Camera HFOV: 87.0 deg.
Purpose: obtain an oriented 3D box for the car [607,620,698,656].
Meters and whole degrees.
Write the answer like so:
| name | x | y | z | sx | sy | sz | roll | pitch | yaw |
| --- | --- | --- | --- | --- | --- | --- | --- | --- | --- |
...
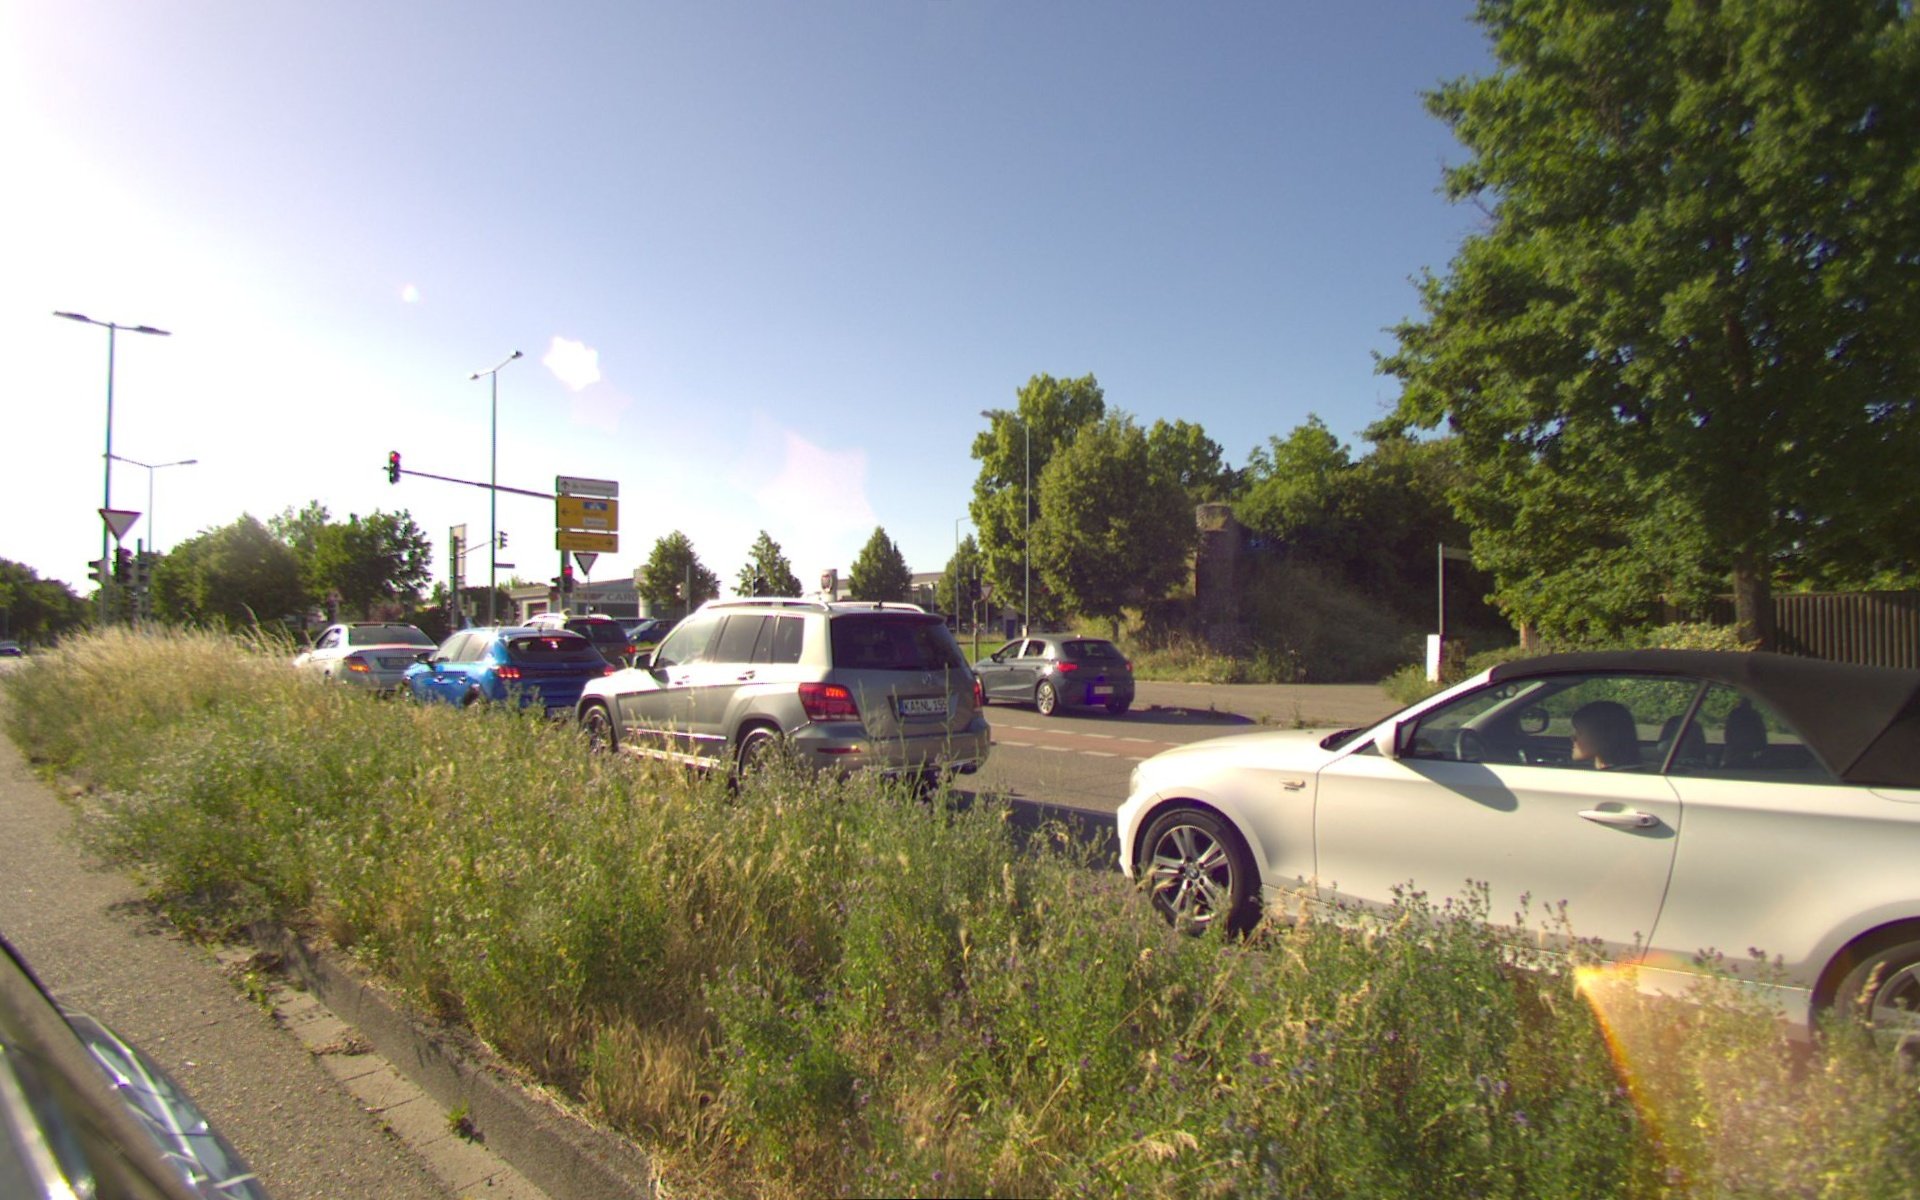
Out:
| name | x | y | z | sx | sy | sz | roll | pitch | yaw |
| --- | --- | --- | --- | --- | --- | --- | --- | --- | --- |
| car | -15.389 | 1.914 | 50.736 | 1.892 | 1.657 | 3.983 | -5 | -5 | 42 |

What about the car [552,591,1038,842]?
| name | x | y | z | sx | sy | sz | roll | pitch | yaw |
| --- | --- | --- | --- | --- | --- | --- | --- | --- | --- |
| car | -1.662 | 0.836 | 8.892 | 1.970 | 1.628 | 4.533 | 2 | -3 | -44 |

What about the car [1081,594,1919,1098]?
| name | x | y | z | sx | sy | sz | roll | pitch | yaw |
| --- | --- | --- | --- | --- | --- | --- | --- | --- | --- |
| car | 2.853 | 0.763 | 4.297 | 1.970 | 1.461 | 4.402 | 2 | -3 | -44 |

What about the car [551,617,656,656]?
| name | x | y | z | sx | sy | sz | roll | pitch | yaw |
| --- | --- | --- | --- | --- | --- | --- | --- | --- | --- |
| car | -19.815 | 2.068 | 56.456 | 2.047 | 2.029 | 5.202 | -5 | -5 | 42 |

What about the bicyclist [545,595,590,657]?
| name | x | y | z | sx | sy | sz | roll | pitch | yaw |
| --- | --- | --- | --- | --- | --- | --- | --- | --- | --- |
| bicyclist | -11.117 | 0.746 | 28.649 | 0.736 | 1.715 | 1.242 | 2 | -3 | -45 |

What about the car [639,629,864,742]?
| name | x | y | z | sx | sy | sz | roll | pitch | yaw |
| --- | --- | --- | --- | --- | --- | --- | --- | --- | --- |
| car | -3.253 | 1.200 | 15.365 | 1.626 | 1.494 | 3.716 | 2 | -3 | -44 |

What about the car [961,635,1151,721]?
| name | x | y | z | sx | sy | sz | roll | pitch | yaw |
| --- | --- | --- | --- | --- | --- | --- | --- | --- | --- |
| car | 1.683 | 1.410 | 19.155 | 1.685 | 1.442 | 4.013 | 2 | -3 | -26 |

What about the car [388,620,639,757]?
| name | x | y | z | sx | sy | sz | roll | pitch | yaw |
| --- | --- | --- | --- | --- | --- | --- | --- | --- | --- |
| car | -5.860 | 1.040 | 13.067 | 1.726 | 1.494 | 3.891 | 2 | -3 | -44 |

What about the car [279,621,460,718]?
| name | x | y | z | sx | sy | sz | roll | pitch | yaw |
| --- | --- | --- | --- | --- | --- | --- | --- | --- | --- |
| car | -10.654 | 1.172 | 18.113 | 1.772 | 1.517 | 4.534 | 2 | -3 | -44 |

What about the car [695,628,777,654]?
| name | x | y | z | sx | sy | sz | roll | pitch | yaw |
| --- | --- | --- | --- | --- | --- | --- | --- | --- | --- |
| car | -12.085 | 2.223 | 54.761 | 1.892 | 1.284 | 3.983 | -5 | -5 | 42 |

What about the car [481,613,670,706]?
| name | x | y | z | sx | sy | sz | roll | pitch | yaw |
| --- | --- | --- | --- | --- | --- | --- | --- | --- | --- |
| car | -7.886 | 1.148 | 20.514 | 1.970 | 1.656 | 4.534 | 2 | -3 | -44 |

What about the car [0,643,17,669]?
| name | x | y | z | sx | sy | sz | roll | pitch | yaw |
| --- | --- | --- | --- | --- | --- | --- | --- | --- | --- |
| car | -80.001 | 4.653 | 84.461 | 4.001 | 2.029 | 1.706 | -1 | -3 | 44 |
